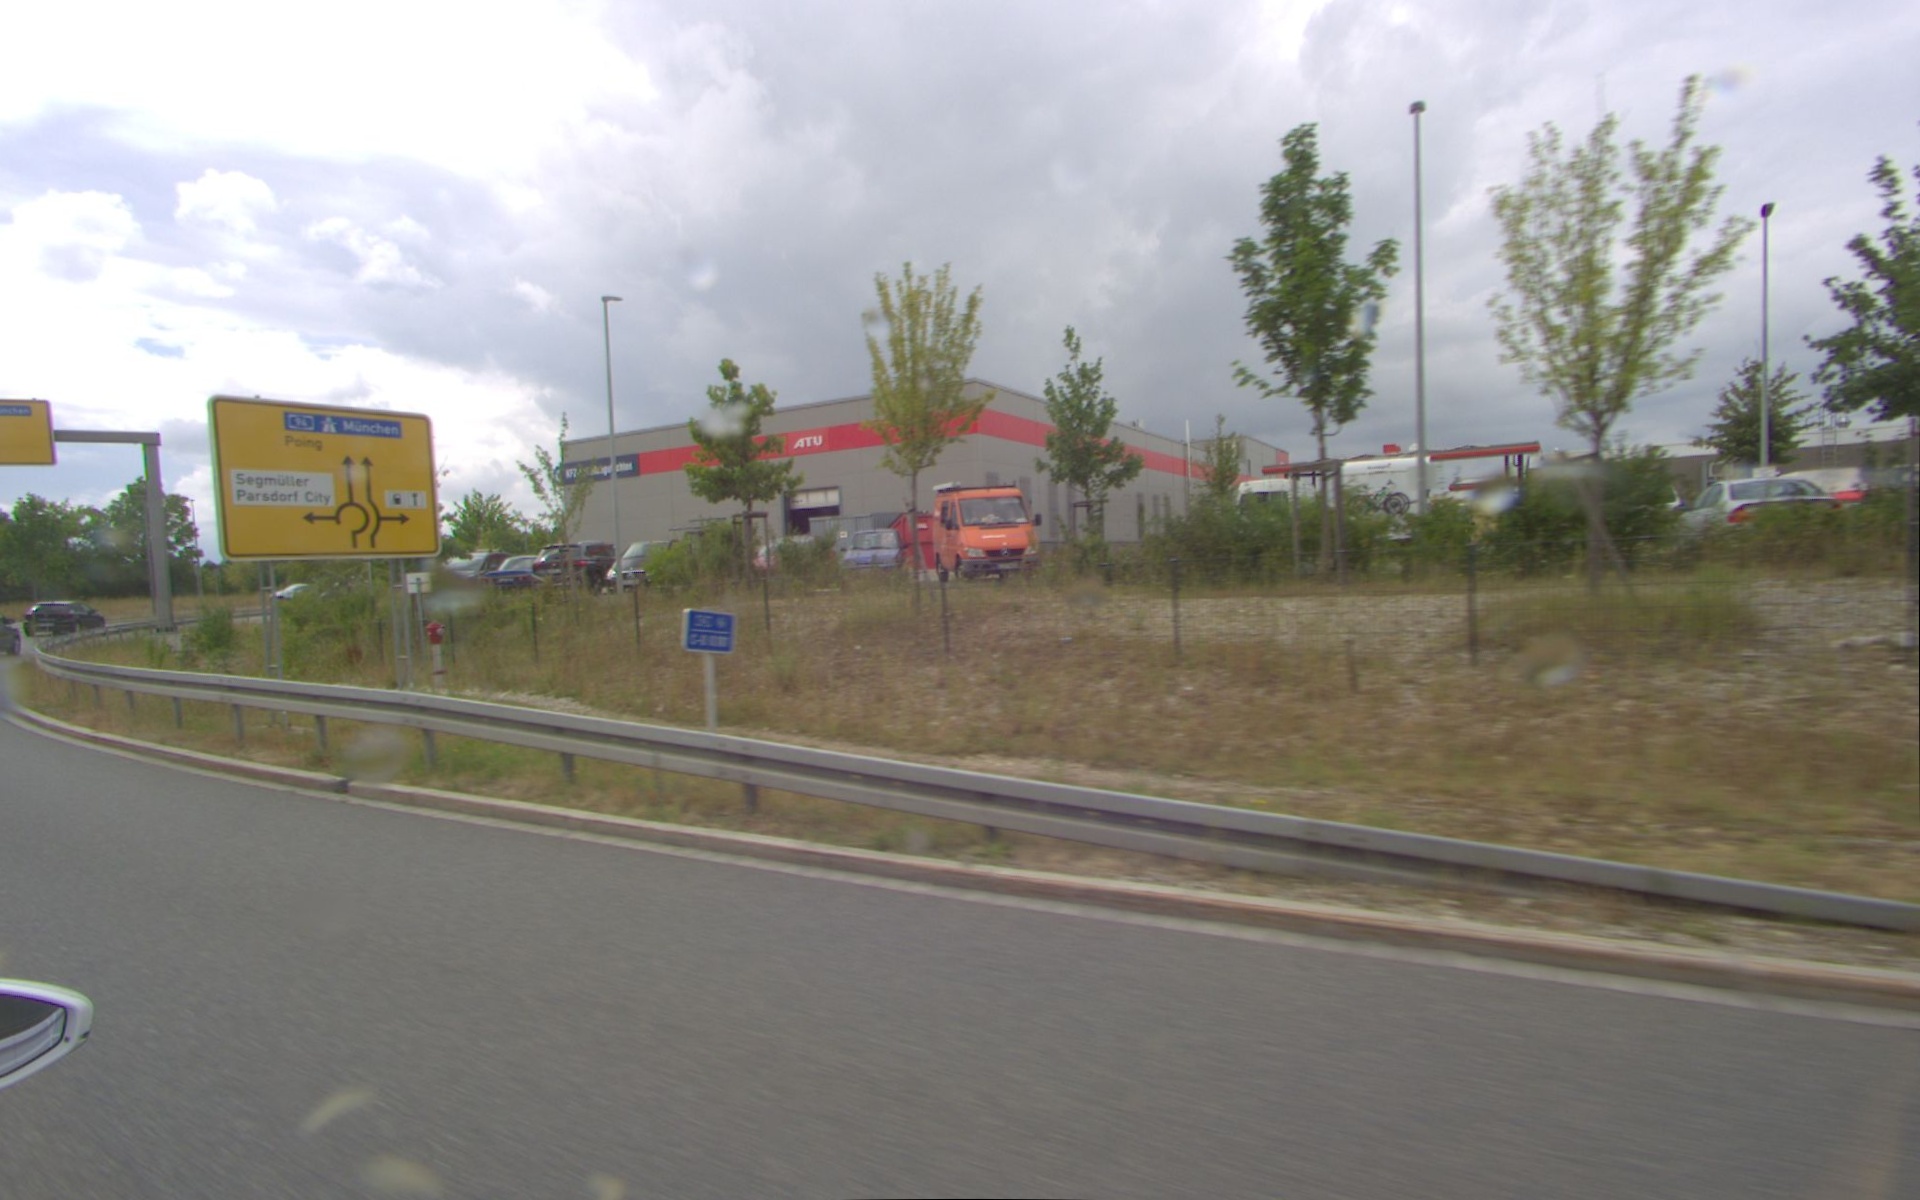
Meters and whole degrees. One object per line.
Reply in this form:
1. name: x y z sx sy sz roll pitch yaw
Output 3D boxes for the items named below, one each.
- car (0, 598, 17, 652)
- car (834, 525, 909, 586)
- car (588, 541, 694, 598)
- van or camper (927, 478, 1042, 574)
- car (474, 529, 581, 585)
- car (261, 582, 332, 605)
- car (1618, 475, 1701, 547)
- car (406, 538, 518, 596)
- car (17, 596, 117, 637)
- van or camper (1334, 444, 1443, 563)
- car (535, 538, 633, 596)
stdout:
1. car: -29.557 0.769 29.623 1.749 1.638 3.896 -2 1 -34
2. car: -2.204 -1.154 25.611 1.471 1.401 3.303 -2 3 1
3. car: -9.563 -0.979 30.331 1.659 1.540 3.790 -1 4 5
4. van or camper: 0.497 -1.724 24.835 1.780 2.024 4.671 -2 1 -12
5. car: -14.271 -1.361 33.268 1.699 1.675 3.858 0 0 3
6. car: -49.819 -0.474 75.291 1.780 1.651 4.684 -1 1 8
7. car: 19.219 -2.381 27.637 1.755 1.744 4.036 -1 3 34
8. car: -16.904 -1.057 34.220 1.769 1.806 4.169 0 0 -1
9. car: -38.500 0.682 43.275 1.842 1.627 3.726 -2 1 -19
10. van or camper: 13.784 -2.912 31.851 2.454 3.223 7.700 0 3 29
11. car: -11.650 -0.976 31.274 1.489 1.675 3.734 0 0 3
